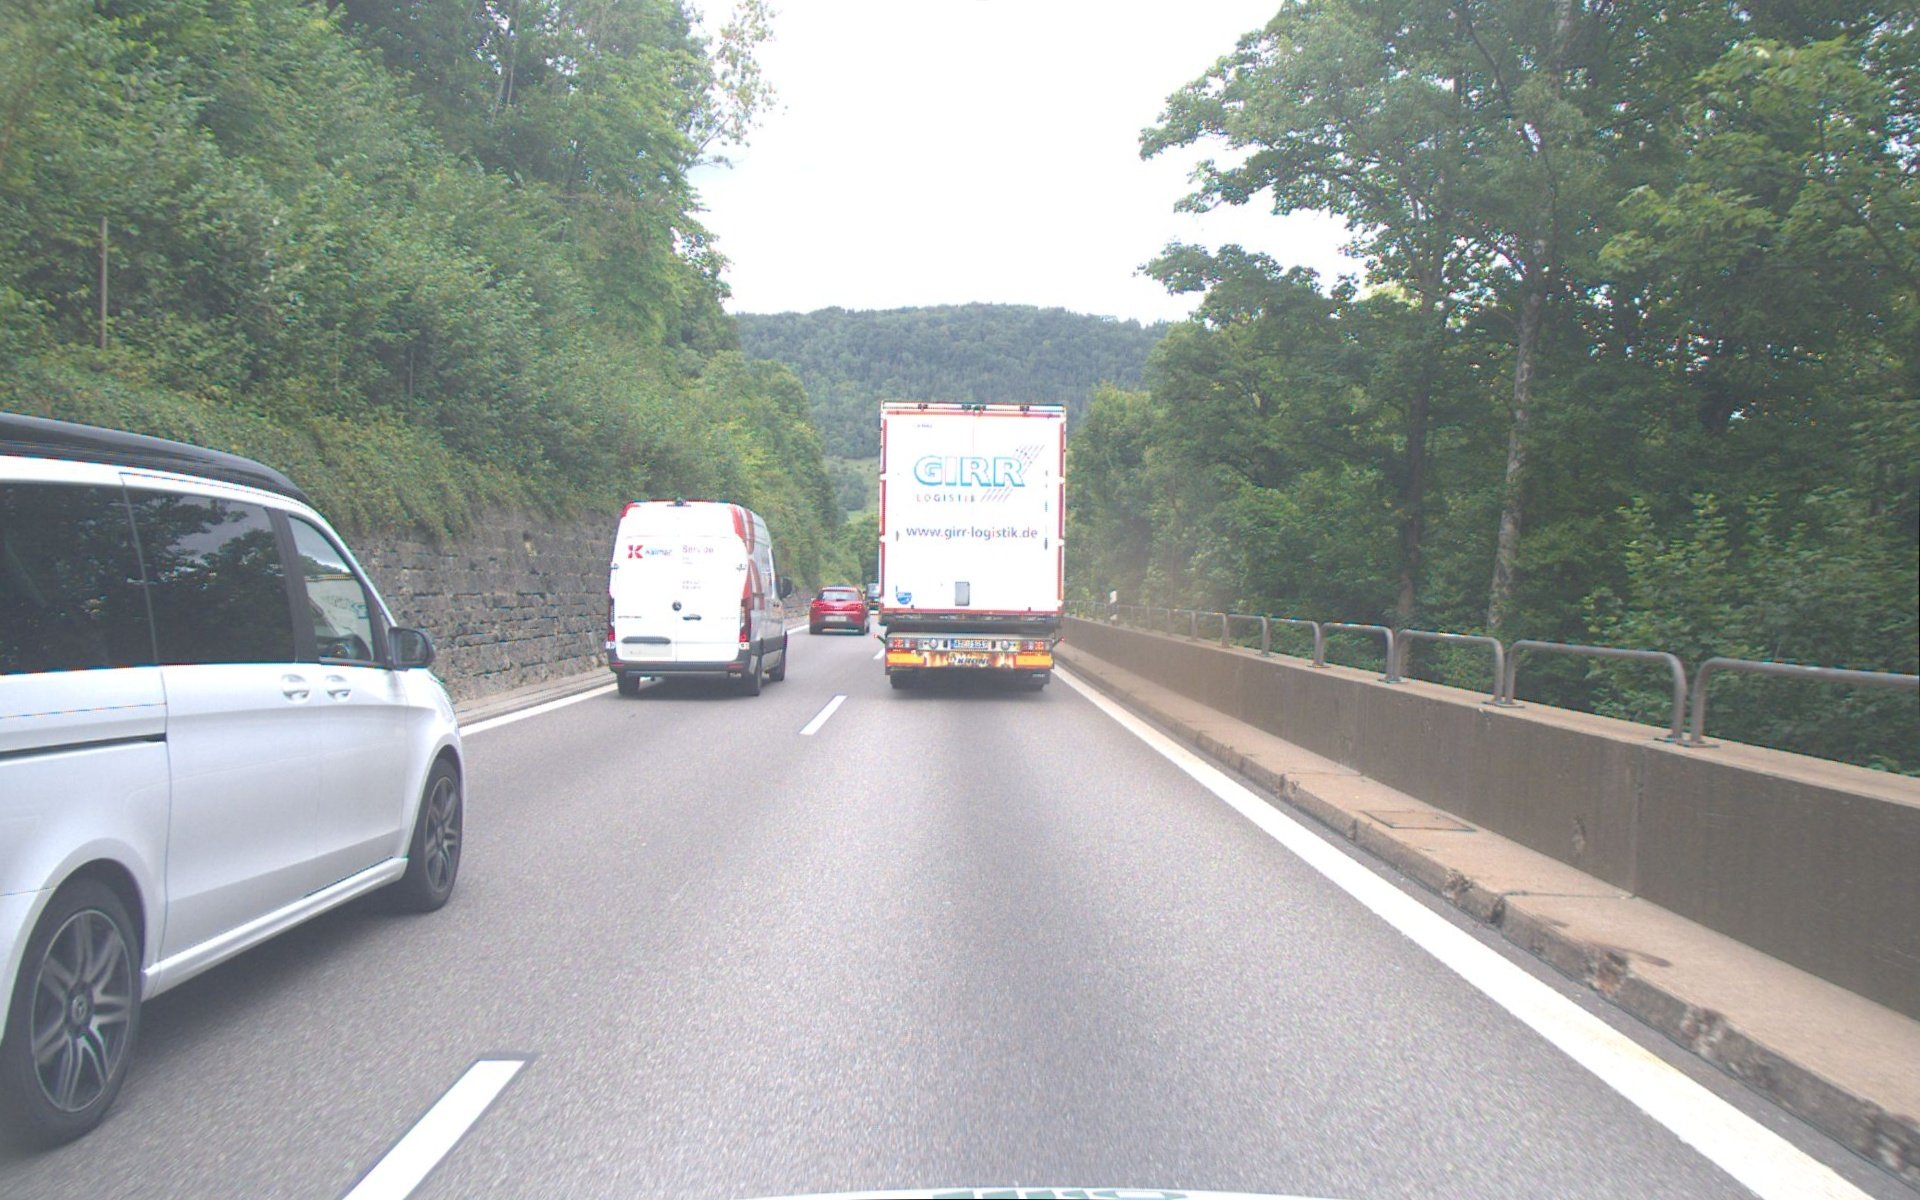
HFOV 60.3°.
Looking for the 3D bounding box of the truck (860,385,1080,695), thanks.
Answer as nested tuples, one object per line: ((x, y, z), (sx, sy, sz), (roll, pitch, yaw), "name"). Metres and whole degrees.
((0.151, -0.802, 26.213), (2.849, 4.030, 9.279), (0, 0, 0), "truck")

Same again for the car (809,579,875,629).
((-3.623, 0.122, 51.573), (1.730, 1.485, 4.411), (0, 0, 0), "car")

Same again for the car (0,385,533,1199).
((-3.186, 0.469, 5.564), (1.953, 1.987, 6.147), (1, 1, -1), "car")

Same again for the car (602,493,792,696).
((-3.725, -0.072, 24.565), (1.985, 2.630, 6.272), (0, 0, -2), "car")

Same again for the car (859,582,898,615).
((-4.329, -0.084, 87.026), (1.638, 1.667, 4.059), (0, 0, -9), "car")
